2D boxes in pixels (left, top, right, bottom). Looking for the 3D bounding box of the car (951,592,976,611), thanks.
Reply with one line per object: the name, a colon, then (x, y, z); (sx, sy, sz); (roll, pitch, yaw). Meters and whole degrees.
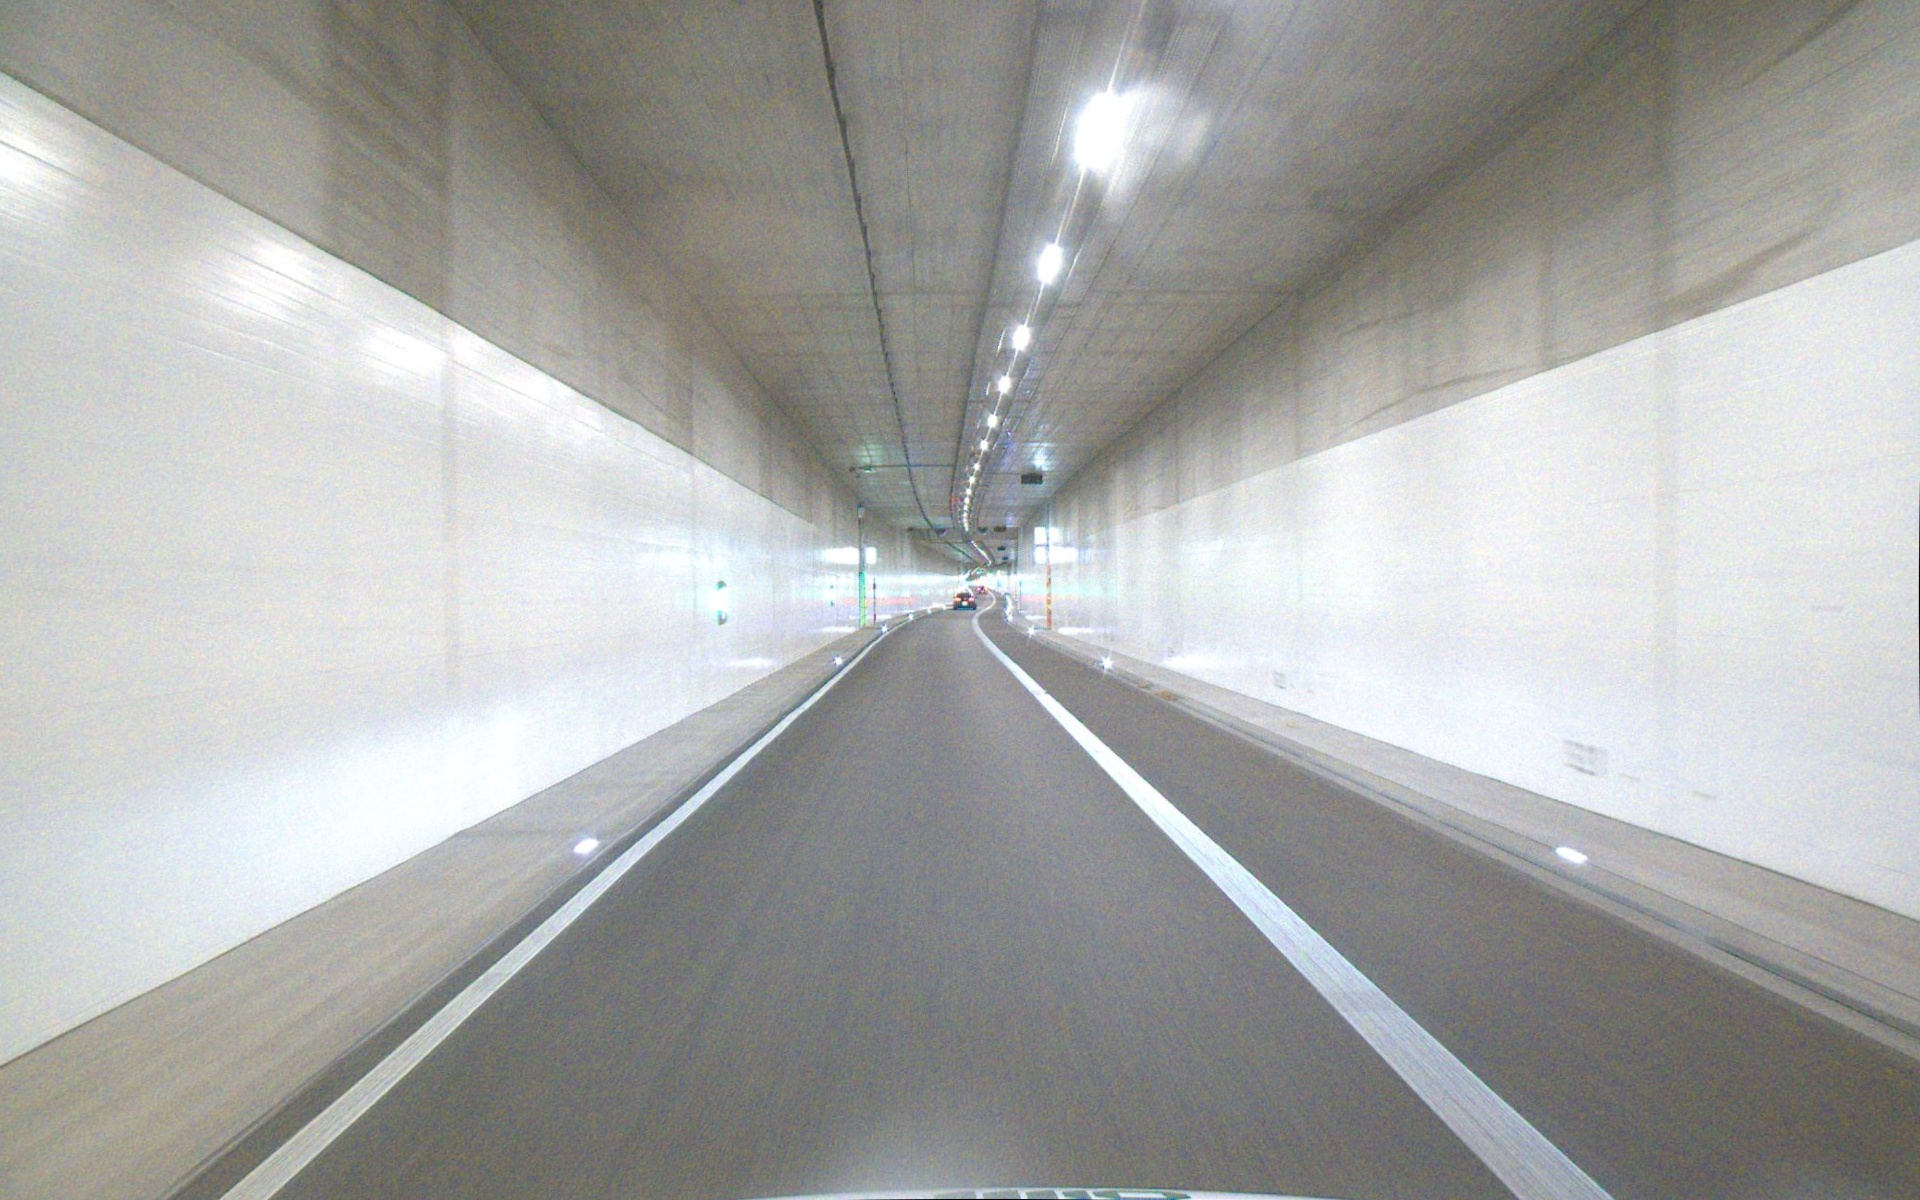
car: (0.276, 0.113, 135.551); (1.953, 1.445, 3.999); (2, 0, -1)
